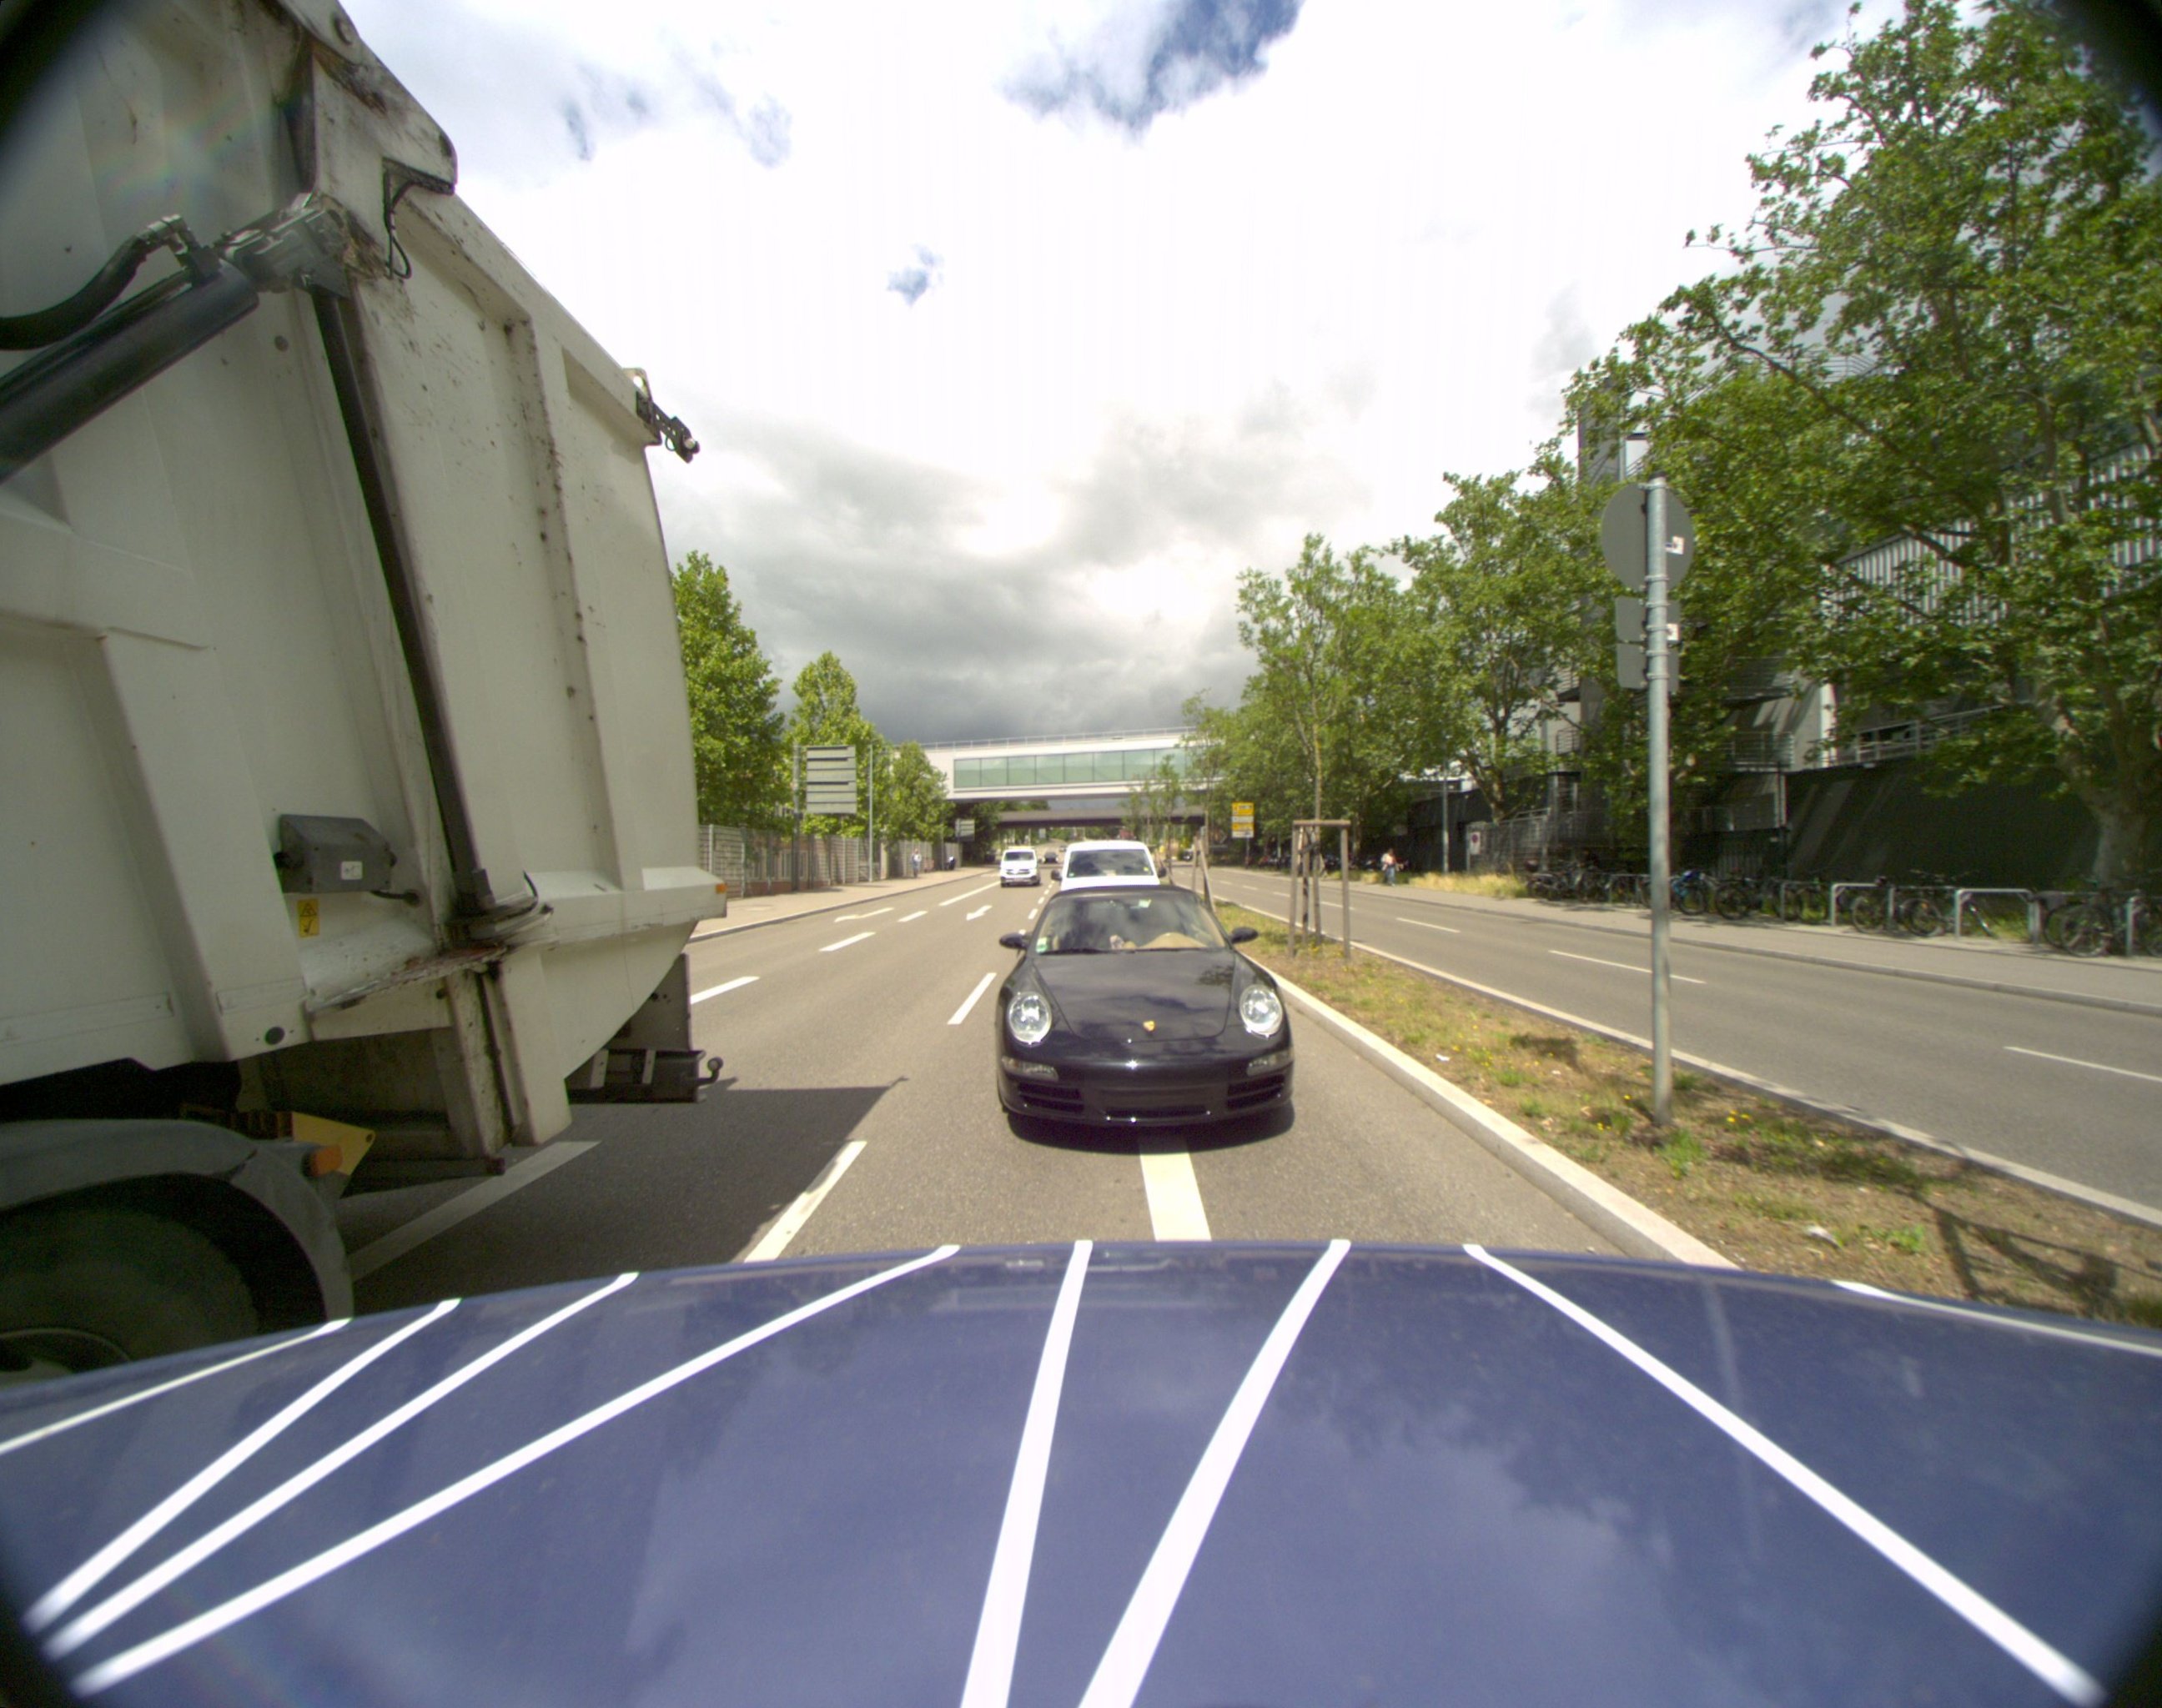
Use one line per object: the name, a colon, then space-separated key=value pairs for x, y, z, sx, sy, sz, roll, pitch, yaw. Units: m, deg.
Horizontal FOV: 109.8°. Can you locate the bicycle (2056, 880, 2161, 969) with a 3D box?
bicycle: x=14.351 y=0.930 z=10.228 sx=1.993 sy=1.121 sz=0.382 roll=-1 pitch=1 yaw=-1

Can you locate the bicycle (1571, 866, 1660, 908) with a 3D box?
bicycle: x=14.820 y=0.916 z=21.088 sx=2.129 sy=1.104 sz=0.382 roll=-1 pitch=1 yaw=3

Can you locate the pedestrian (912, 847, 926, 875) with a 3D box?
pedestrian: x=-11.327 y=0.483 z=53.162 sx=0.739 sy=1.901 sz=0.658 roll=-2 pitch=1 yaw=-4

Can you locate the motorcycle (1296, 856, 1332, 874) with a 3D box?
motorcycle: x=15.089 y=0.712 z=49.180 sx=2.133 sy=1.131 sz=0.534 roll=-1 pitch=0 yaw=1

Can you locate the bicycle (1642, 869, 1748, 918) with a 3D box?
bicycle: x=14.502 y=0.925 z=17.961 sx=2.129 sy=1.104 sz=0.382 roll=-1 pitch=1 yaw=3

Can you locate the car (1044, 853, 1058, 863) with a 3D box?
car: x=-4.066 y=0.512 z=103.481 sx=1.862 sy=1.369 sz=4.356 roll=-1 pitch=0 yaw=-1

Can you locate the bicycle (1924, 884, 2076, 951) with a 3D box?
bicycle: x=14.750 y=1.016 z=12.210 sx=1.993 sy=0.992 sz=0.382 roll=-1 pitch=1 yaw=-1

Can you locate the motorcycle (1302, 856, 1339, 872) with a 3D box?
motorcycle: x=15.023 y=0.615 z=47.618 sx=2.133 sy=0.963 sz=0.534 roll=-1 pitch=0 yaw=1

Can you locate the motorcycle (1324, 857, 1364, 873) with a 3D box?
motorcycle: x=15.414 y=0.665 z=44.570 sx=2.133 sy=0.880 sz=0.534 roll=-1 pitch=0 yaw=1

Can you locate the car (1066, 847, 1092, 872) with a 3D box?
car: x=-0.111 y=0.425 z=58.876 sx=1.862 sy=1.800 sz=4.357 roll=-3 pitch=0 yaw=1

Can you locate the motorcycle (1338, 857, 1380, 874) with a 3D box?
motorcycle: x=15.478 y=0.631 z=42.351 sx=2.133 sy=0.893 sz=0.534 roll=-1 pitch=0 yaw=1

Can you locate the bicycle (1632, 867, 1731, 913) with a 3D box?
bicycle: x=15.063 y=0.896 z=19.076 sx=2.129 sy=1.104 sz=0.382 roll=-1 pitch=1 yaw=3

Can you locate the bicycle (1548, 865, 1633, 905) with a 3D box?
bicycle: x=14.751 y=0.903 z=22.011 sx=2.129 sy=1.104 sz=0.382 roll=-1 pitch=1 yaw=3

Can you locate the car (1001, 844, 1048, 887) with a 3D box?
car: x=-2.911 y=0.554 z=39.792 sx=1.925 sy=2.082 sz=4.657 roll=-1 pitch=0 yaw=2

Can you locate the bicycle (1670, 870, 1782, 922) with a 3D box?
bicycle: x=14.477 y=0.934 z=17.074 sx=2.129 sy=1.104 sz=0.382 roll=-1 pitch=1 yaw=3

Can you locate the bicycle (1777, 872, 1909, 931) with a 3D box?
bicycle: x=15.039 y=0.928 z=15.011 sx=2.129 sy=1.104 sz=0.382 roll=-1 pitch=1 yaw=3

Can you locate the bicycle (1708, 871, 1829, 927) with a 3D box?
bicycle: x=14.498 y=0.945 z=16.050 sx=2.129 sy=1.104 sz=0.382 roll=-1 pitch=1 yaw=3

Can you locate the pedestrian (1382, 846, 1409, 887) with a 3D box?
pedestrian: x=13.283 y=0.508 z=32.107 sx=0.900 sy=1.710 sz=0.673 roll=-1 pitch=1 yaw=1

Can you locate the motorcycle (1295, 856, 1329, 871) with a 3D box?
motorcycle: x=15.357 y=0.626 z=50.532 sx=2.133 sy=0.963 sz=0.534 roll=-1 pitch=0 yaw=1

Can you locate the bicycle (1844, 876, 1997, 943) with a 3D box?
bicycle: x=14.575 y=0.959 z=13.211 sx=2.129 sy=1.089 sz=0.382 roll=-1 pitch=1 yaw=3

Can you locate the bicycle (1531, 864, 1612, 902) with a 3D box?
bicycle: x=14.746 y=0.867 z=22.853 sx=2.129 sy=1.104 sz=0.382 roll=-1 pitch=1 yaw=3

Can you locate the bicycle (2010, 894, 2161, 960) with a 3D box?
bicycle: x=14.954 y=1.074 z=11.230 sx=1.993 sy=0.885 sz=0.382 roll=-1 pitch=1 yaw=-1

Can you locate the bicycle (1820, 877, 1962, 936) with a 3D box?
bicycle: x=15.008 y=0.971 z=14.105 sx=2.129 sy=1.025 sz=0.382 roll=-1 pitch=1 yaw=3

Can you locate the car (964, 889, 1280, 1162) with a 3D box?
car: x=0.250 y=1.037 z=6.081 sx=1.710 sy=1.280 sz=3.806 roll=-1 pitch=0 yaw=1

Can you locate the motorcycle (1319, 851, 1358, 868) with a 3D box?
motorcycle: x=15.462 y=0.357 z=45.676 sx=2.133 sy=0.963 sz=0.534 roll=-1 pitch=0 yaw=1

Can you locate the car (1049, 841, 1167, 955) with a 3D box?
car: x=0.465 y=0.710 z=14.697 sx=1.862 sy=1.800 sz=4.906 roll=-1 pitch=0 yaw=1
